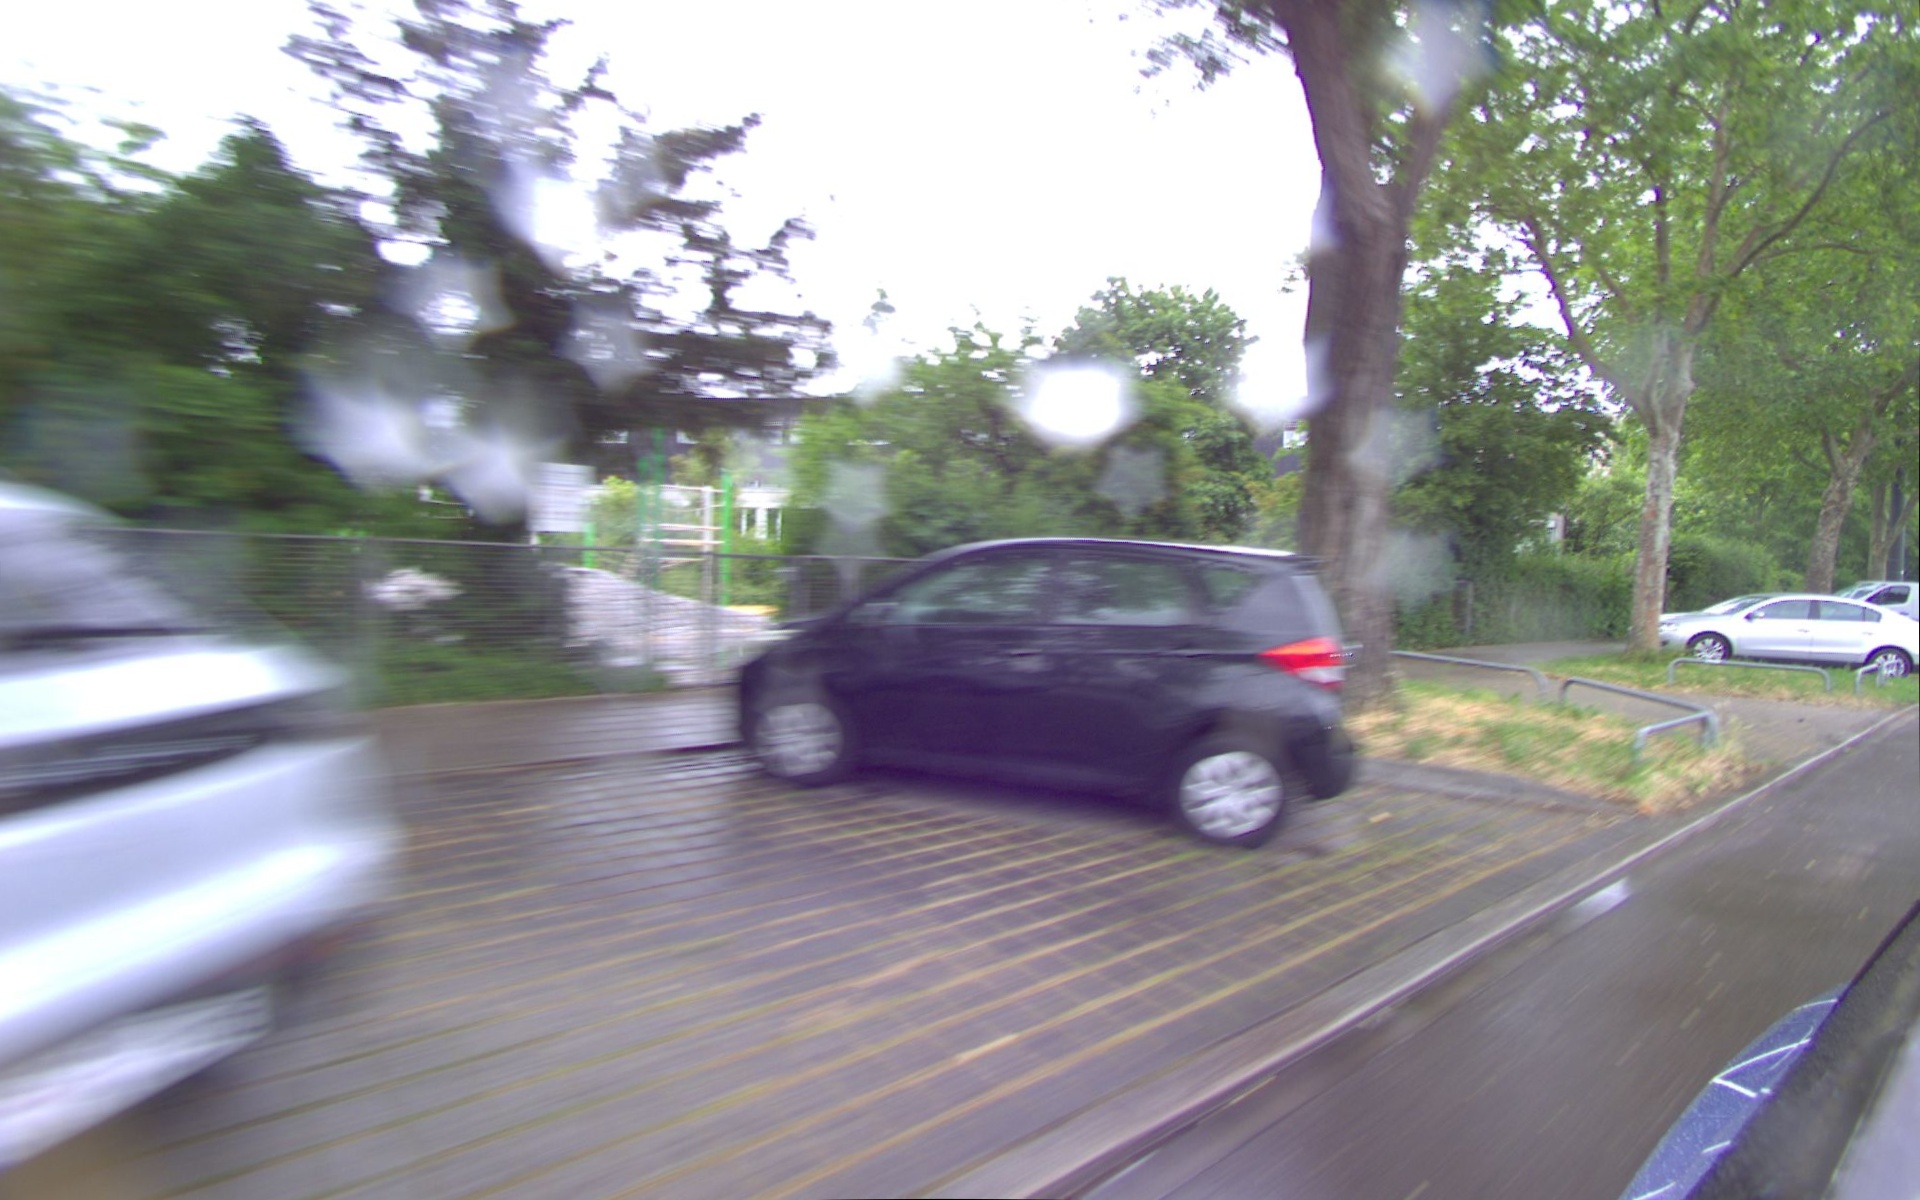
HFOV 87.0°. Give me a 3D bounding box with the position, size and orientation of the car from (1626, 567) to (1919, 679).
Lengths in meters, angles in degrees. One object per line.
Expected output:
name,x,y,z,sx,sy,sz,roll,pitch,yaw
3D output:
car,15.149,0.380,18.488,4.502,1.563,1.877,6,3,18

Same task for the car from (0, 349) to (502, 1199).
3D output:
car,-3.728,0.340,2.263,4.705,1.688,1.987,3,2,14

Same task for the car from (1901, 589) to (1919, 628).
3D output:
car,43.404,0.470,43.463,3.985,1.661,1.649,3,3,12

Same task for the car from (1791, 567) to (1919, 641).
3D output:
car,28.979,0.185,30.958,4.959,2.038,1.991,4,2,15

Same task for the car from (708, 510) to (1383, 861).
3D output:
car,0.498,0.345,6.250,3.665,1.585,1.610,4,2,18
